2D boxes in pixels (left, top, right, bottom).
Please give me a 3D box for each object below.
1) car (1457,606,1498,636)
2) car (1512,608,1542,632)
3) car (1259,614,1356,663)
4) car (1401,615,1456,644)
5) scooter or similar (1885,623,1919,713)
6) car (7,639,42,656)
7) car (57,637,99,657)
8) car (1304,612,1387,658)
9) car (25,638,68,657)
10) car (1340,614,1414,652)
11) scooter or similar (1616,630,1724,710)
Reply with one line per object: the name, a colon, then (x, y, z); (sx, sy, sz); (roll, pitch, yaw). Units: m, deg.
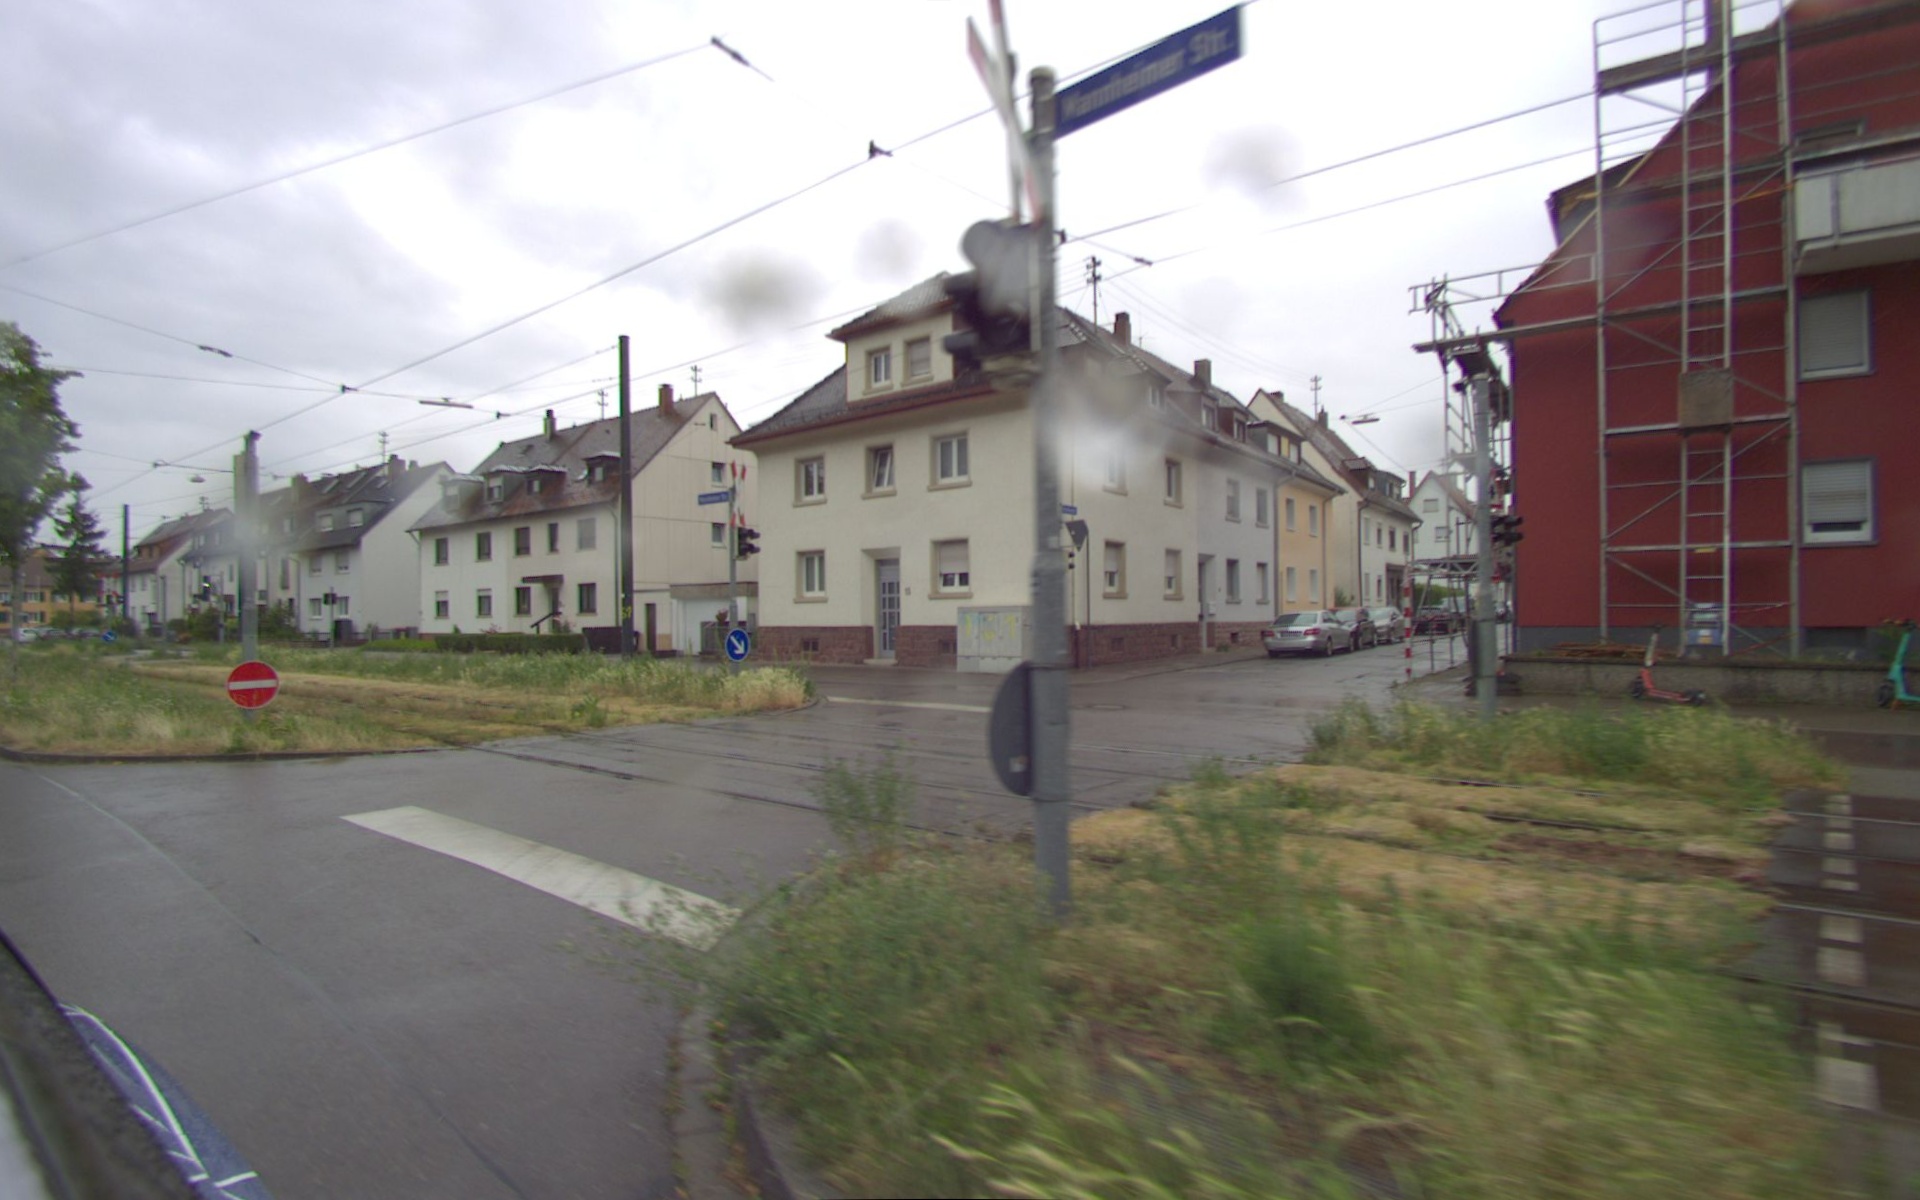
car: (32.881, 1.340, 64.202); (1.788, 1.837, 4.315); (-2, -2, 34)
car: (46.294, 1.633, 82.562); (1.788, 1.837, 4.315); (-2, -2, 34)
car: (10.968, 1.174, 31.746); (1.838, 1.412, 4.315); (-2, -2, 34)
car: (23.367, 1.449, 50.387); (1.788, 1.378, 4.315); (-2, -2, 34)
scooter or similar: (13.108, 0.900, 13.328); (0.388, 1.189, 1.286); (0, -2, -33)
car: (-84.364, 4.283, 91.282); (3.995, 1.451, 1.694); (-2, -3, 38)
car: (-66.214, 3.538, 75.941); (3.934, 1.437, 1.755); (-2, -3, 40)
car: (13.790, 1.229, 36.064); (1.838, 1.532, 4.315); (-2, -2, 34)
car: (-75.871, 3.914, 84.027); (4.750, 1.543, 1.868); (-2, -3, 39)
car: (16.444, 1.267, 39.789); (1.838, 1.390, 4.315); (-2, -2, 34)
scooter or similar: (10.657, 1.023, 15.231); (0.434, 1.138, 1.287); (0, -1, -18)
